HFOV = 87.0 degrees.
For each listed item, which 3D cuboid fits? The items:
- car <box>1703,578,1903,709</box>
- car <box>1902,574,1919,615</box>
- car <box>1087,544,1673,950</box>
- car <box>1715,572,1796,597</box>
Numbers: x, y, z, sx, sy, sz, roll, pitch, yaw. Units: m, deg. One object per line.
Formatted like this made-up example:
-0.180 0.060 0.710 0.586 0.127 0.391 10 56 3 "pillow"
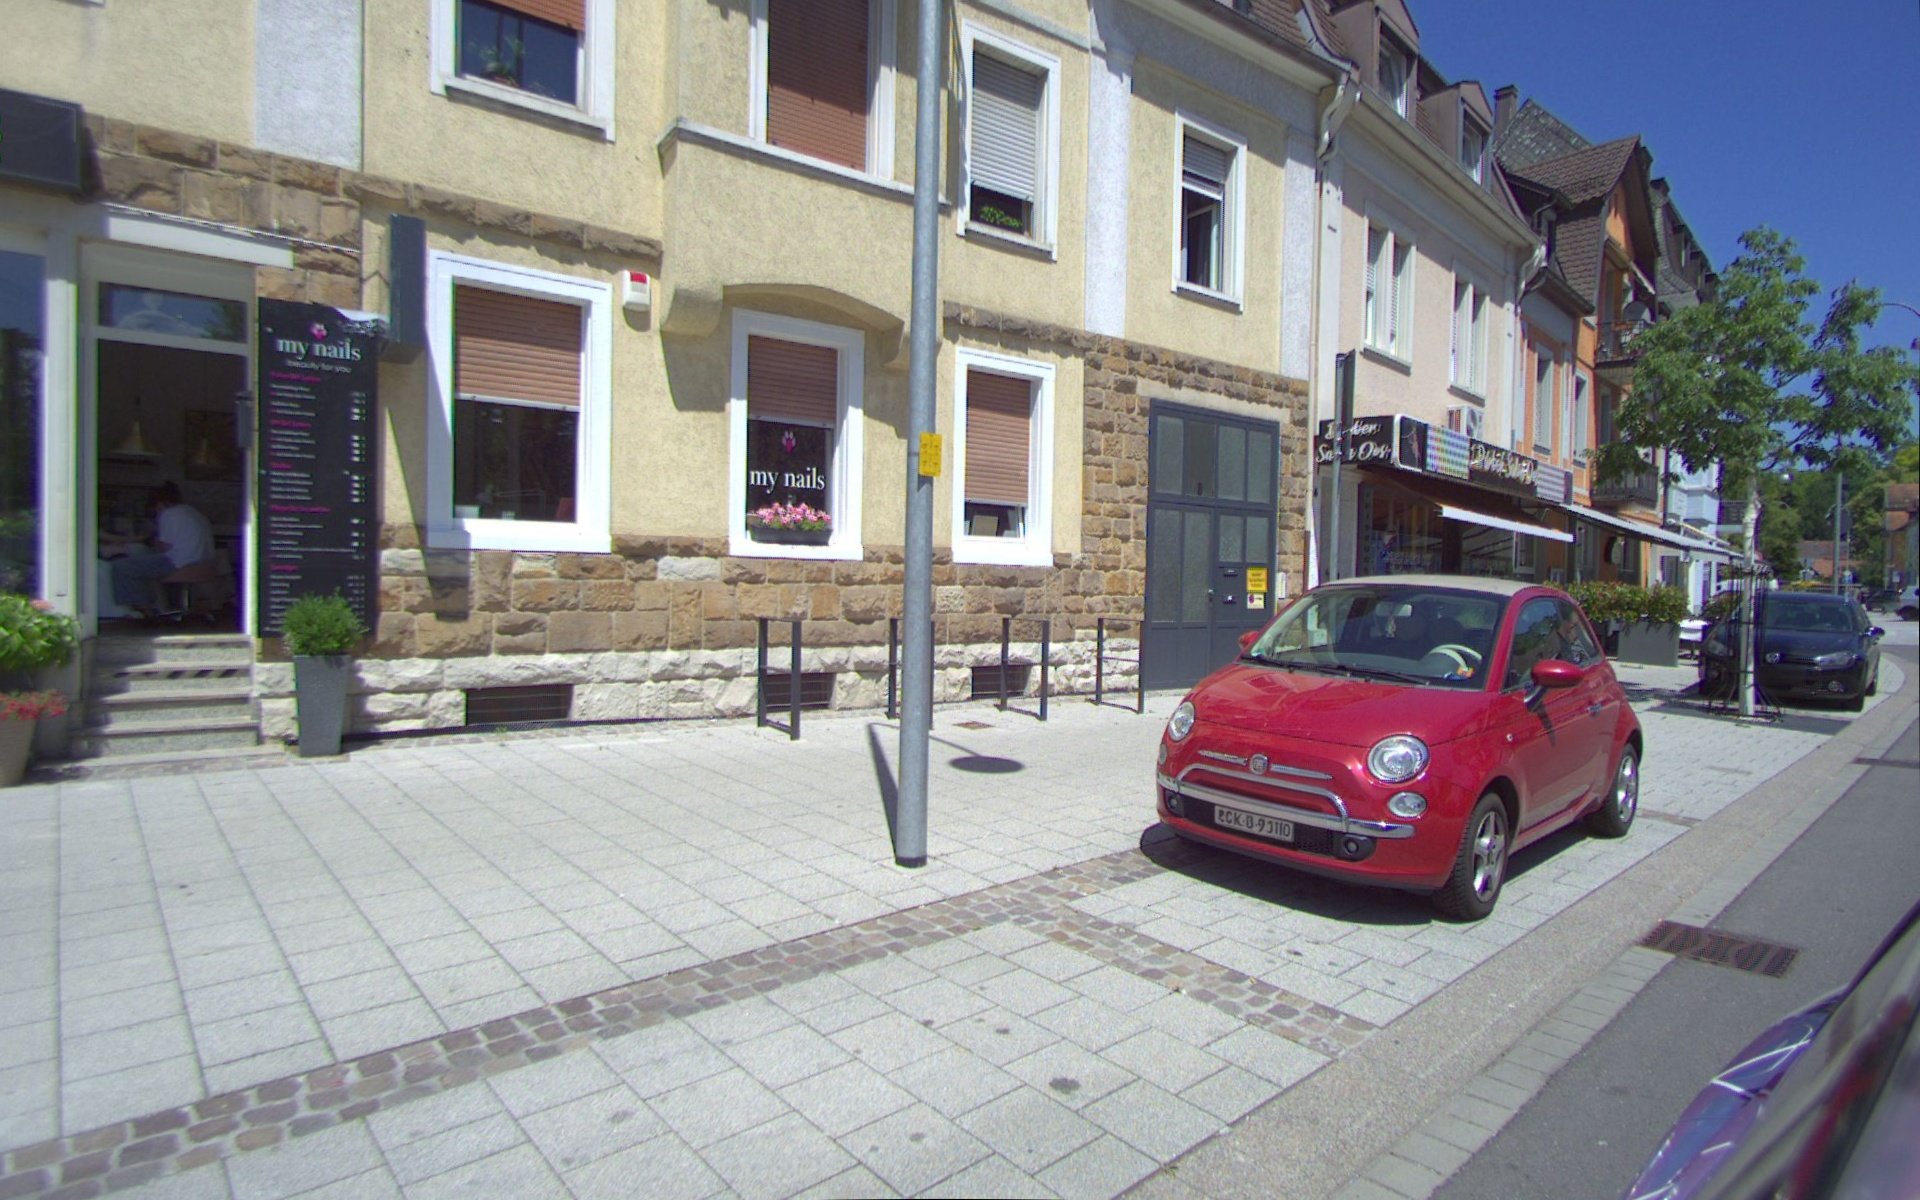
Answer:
12.023 0.487 14.329 4.253 1.490 1.732 -1 4 -45 "car"
40.212 -0.247 39.779 1.958 1.616 4.199 -3 1 -20 "car"
2.457 0.518 5.602 3.328 1.532 1.682 0 3 -42 "car"
83.580 -1.649 106.451 2.264 2.492 6.362 0 1 -36 "car"
